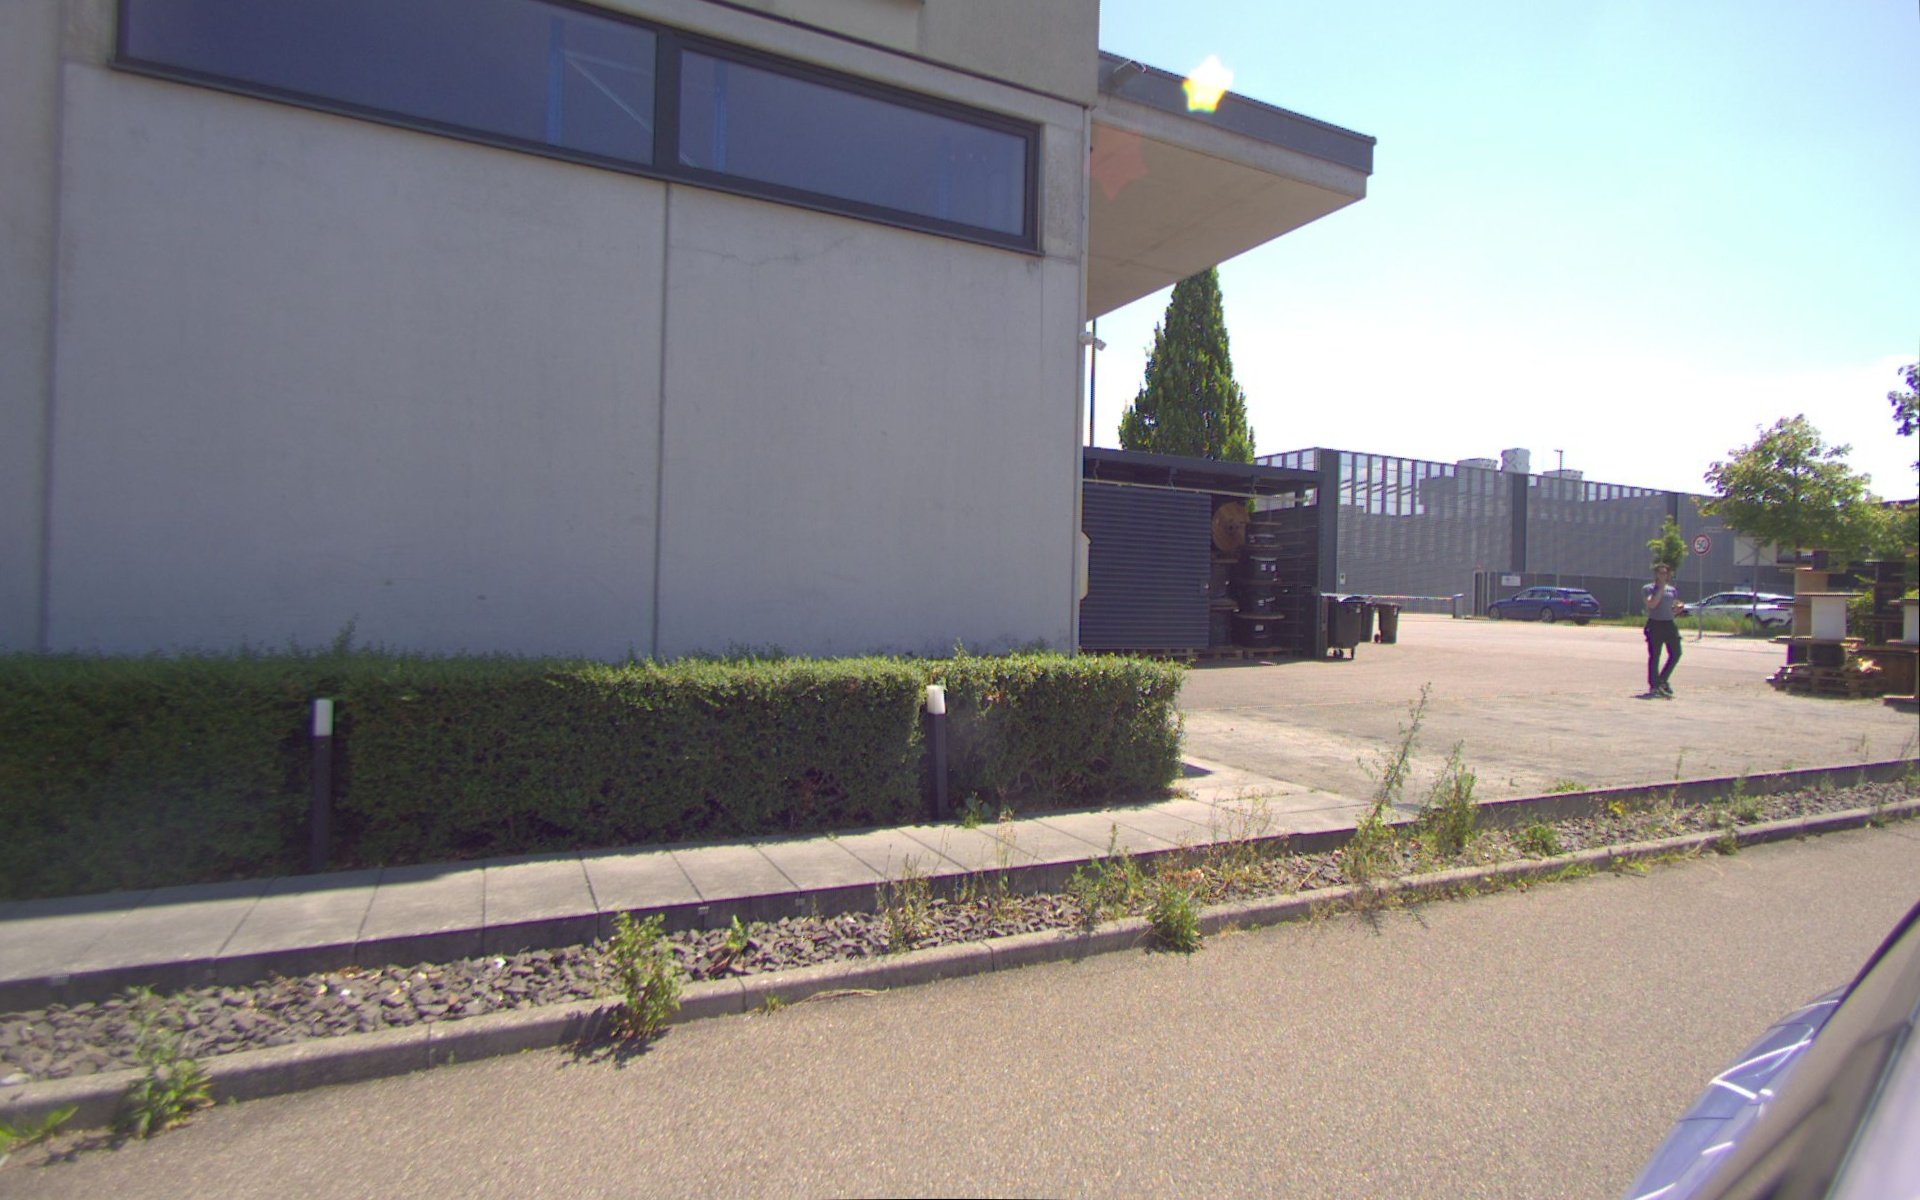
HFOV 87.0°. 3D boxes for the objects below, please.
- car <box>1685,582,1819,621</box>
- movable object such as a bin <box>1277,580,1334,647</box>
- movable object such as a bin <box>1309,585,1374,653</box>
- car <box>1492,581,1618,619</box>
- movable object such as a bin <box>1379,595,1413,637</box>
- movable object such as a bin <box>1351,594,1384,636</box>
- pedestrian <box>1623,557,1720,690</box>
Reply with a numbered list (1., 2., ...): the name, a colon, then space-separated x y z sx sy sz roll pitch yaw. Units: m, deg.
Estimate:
1. car: 33.571 0.040 43.057 1.744 1.494 4.423 1 1 -10
2. movable object such as a bin: 7.025 0.268 20.588 0.785 1.314 0.758 0 2 -18
3. movable object such as a bin: 7.345 0.350 19.509 0.785 1.265 0.878 0 2 -18
4. car: 24.072 -0.036 41.156 1.820 1.427 4.456 1 1 -13
5. movable object such as a bin: 10.064 0.354 23.358 0.583 0.929 0.540 2 2 40
6. movable object such as a bin: 9.578 0.345 23.786 0.583 0.929 0.540 2 2 40
7. pedestrian: 9.862 0.308 14.055 0.795 1.790 0.768 0 1 4
